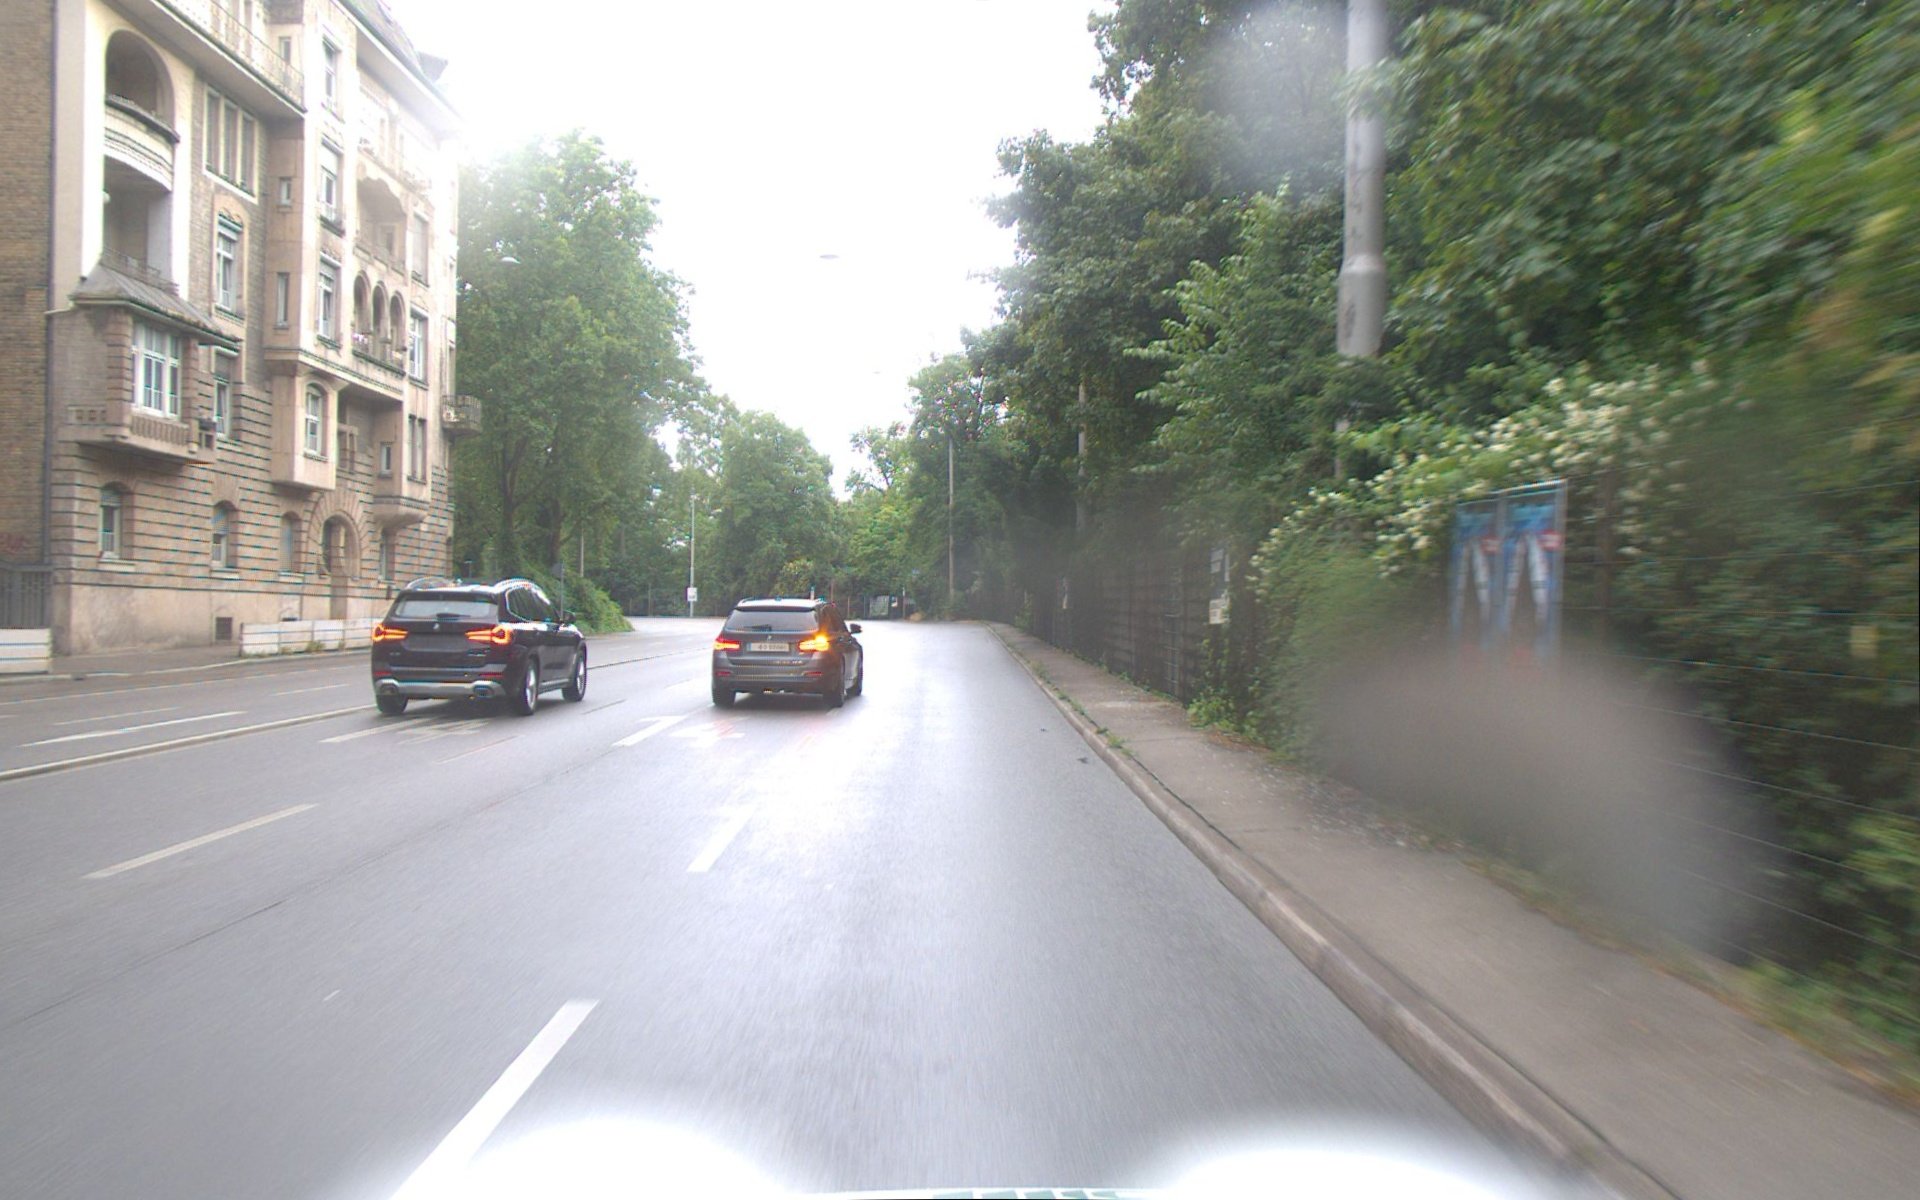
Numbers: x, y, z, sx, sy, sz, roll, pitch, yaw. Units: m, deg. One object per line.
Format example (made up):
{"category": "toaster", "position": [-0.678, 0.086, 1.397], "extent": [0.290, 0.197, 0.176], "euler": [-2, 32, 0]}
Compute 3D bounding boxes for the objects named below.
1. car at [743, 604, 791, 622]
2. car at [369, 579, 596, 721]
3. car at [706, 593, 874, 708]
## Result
{"category": "car", "position": [-16.771, 1.148, 143.690], "extent": [4.295, 1.452, 1.682], "euler": [0, -4, 43]}
{"category": "car", "position": [-6.034, 0.586, 21.432], "extent": [1.722, 1.613, 4.411], "euler": [1, 0, -1]}
{"category": "car", "position": [-2.334, 0.668, 23.733], "extent": [1.721, 1.457, 4.414], "euler": [1, 0, 3]}
